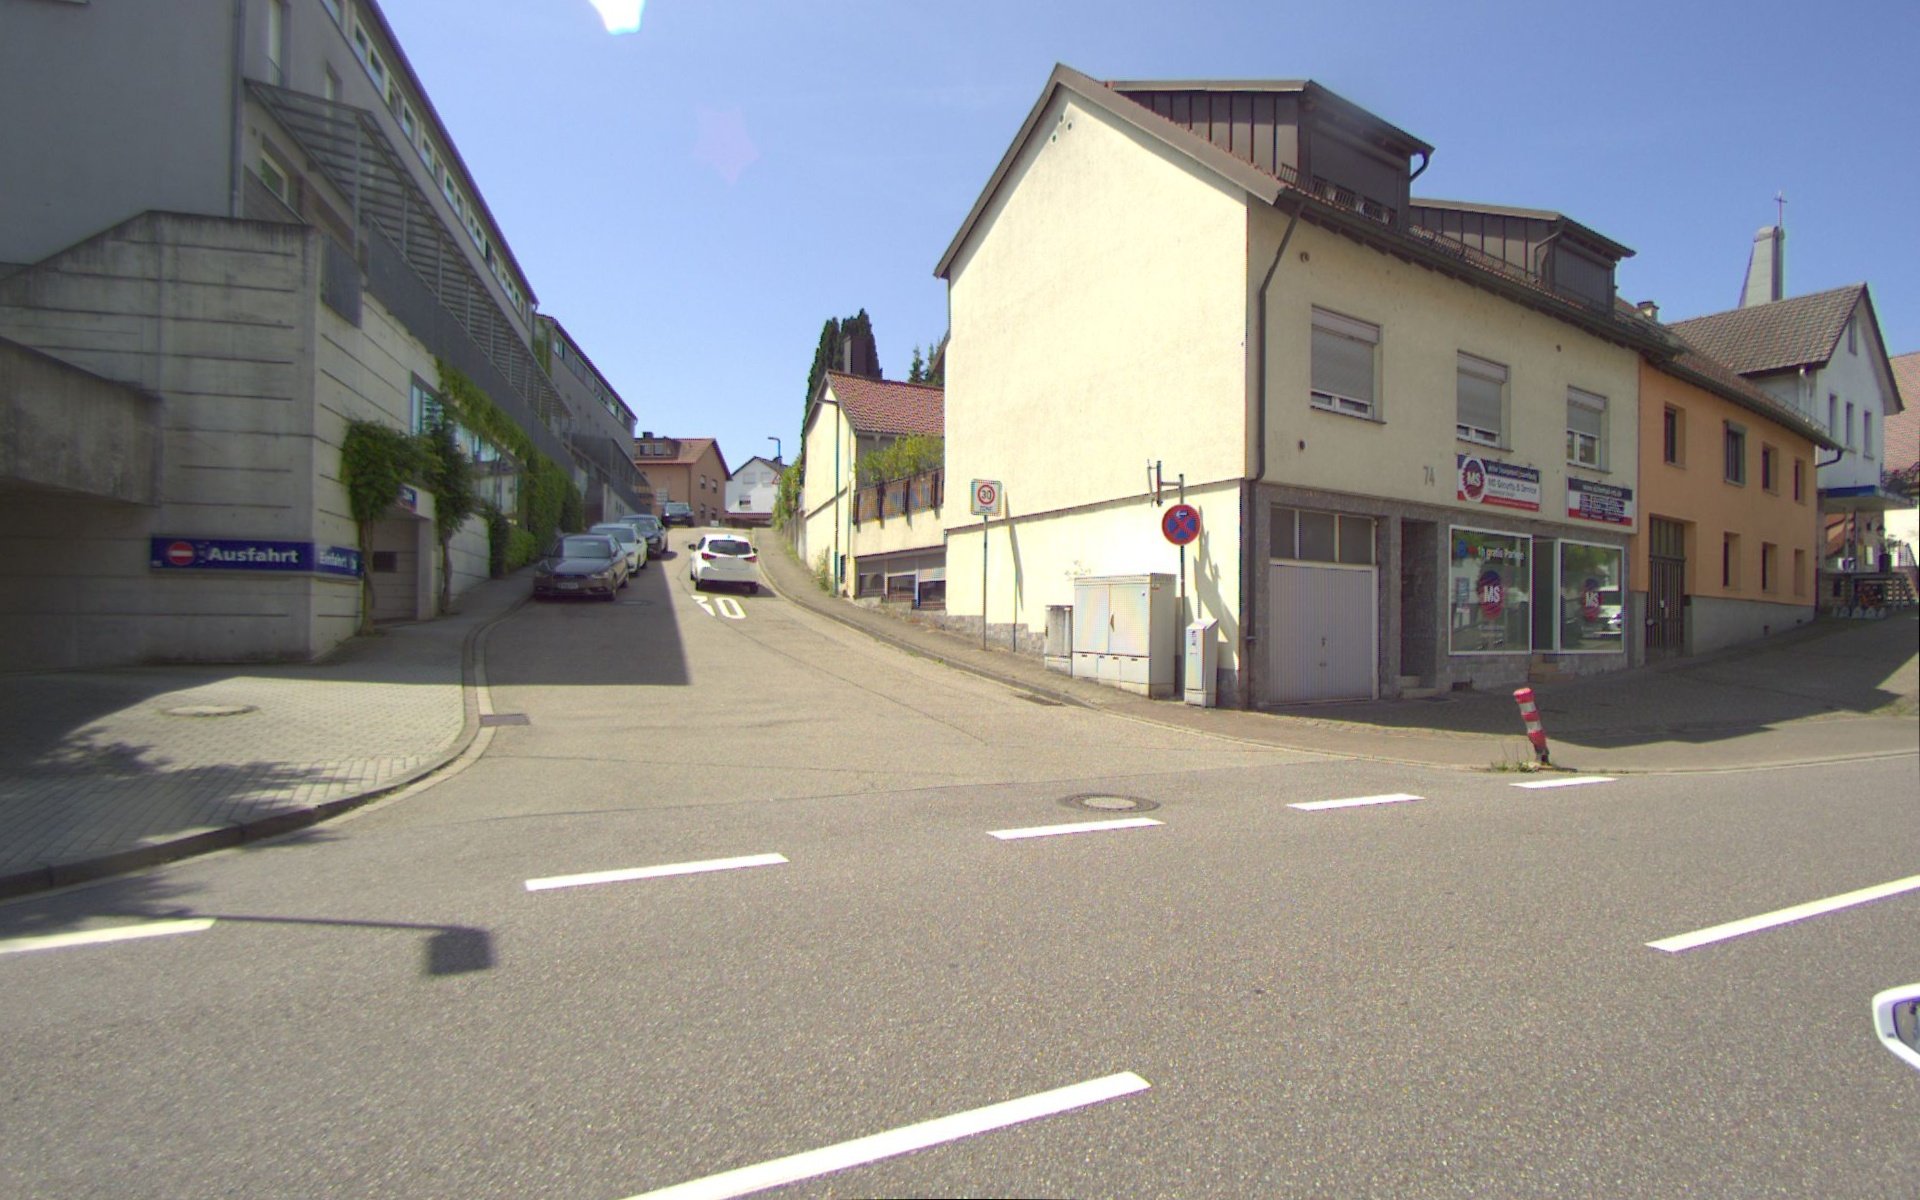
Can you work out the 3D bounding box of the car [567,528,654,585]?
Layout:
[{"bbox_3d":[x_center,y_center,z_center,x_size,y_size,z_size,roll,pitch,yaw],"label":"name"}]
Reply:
[{"bbox_3d":[-10.492,-1.373,30.479,1.965,1.441,4.492,0,6,-13],"label":"car"}]

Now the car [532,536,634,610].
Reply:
[{"bbox_3d":[-9.186,-0.739,24.797,1.727,1.441,4.492,0,6,-13],"label":"car"}]

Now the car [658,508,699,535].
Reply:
[{"bbox_3d":[-16.922,-4.780,60.571,1.964,1.441,4.495,1,6,-10],"label":"car"}]

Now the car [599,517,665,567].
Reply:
[{"bbox_3d":[-11.947,-2.168,36.858,1.857,1.582,4.492,0,6,-13],"label":"car"}]

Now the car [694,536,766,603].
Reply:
[{"bbox_3d":[-6.499,-0.920,28.311,1.783,1.487,3.987,3,6,-14],"label":"car"}]
